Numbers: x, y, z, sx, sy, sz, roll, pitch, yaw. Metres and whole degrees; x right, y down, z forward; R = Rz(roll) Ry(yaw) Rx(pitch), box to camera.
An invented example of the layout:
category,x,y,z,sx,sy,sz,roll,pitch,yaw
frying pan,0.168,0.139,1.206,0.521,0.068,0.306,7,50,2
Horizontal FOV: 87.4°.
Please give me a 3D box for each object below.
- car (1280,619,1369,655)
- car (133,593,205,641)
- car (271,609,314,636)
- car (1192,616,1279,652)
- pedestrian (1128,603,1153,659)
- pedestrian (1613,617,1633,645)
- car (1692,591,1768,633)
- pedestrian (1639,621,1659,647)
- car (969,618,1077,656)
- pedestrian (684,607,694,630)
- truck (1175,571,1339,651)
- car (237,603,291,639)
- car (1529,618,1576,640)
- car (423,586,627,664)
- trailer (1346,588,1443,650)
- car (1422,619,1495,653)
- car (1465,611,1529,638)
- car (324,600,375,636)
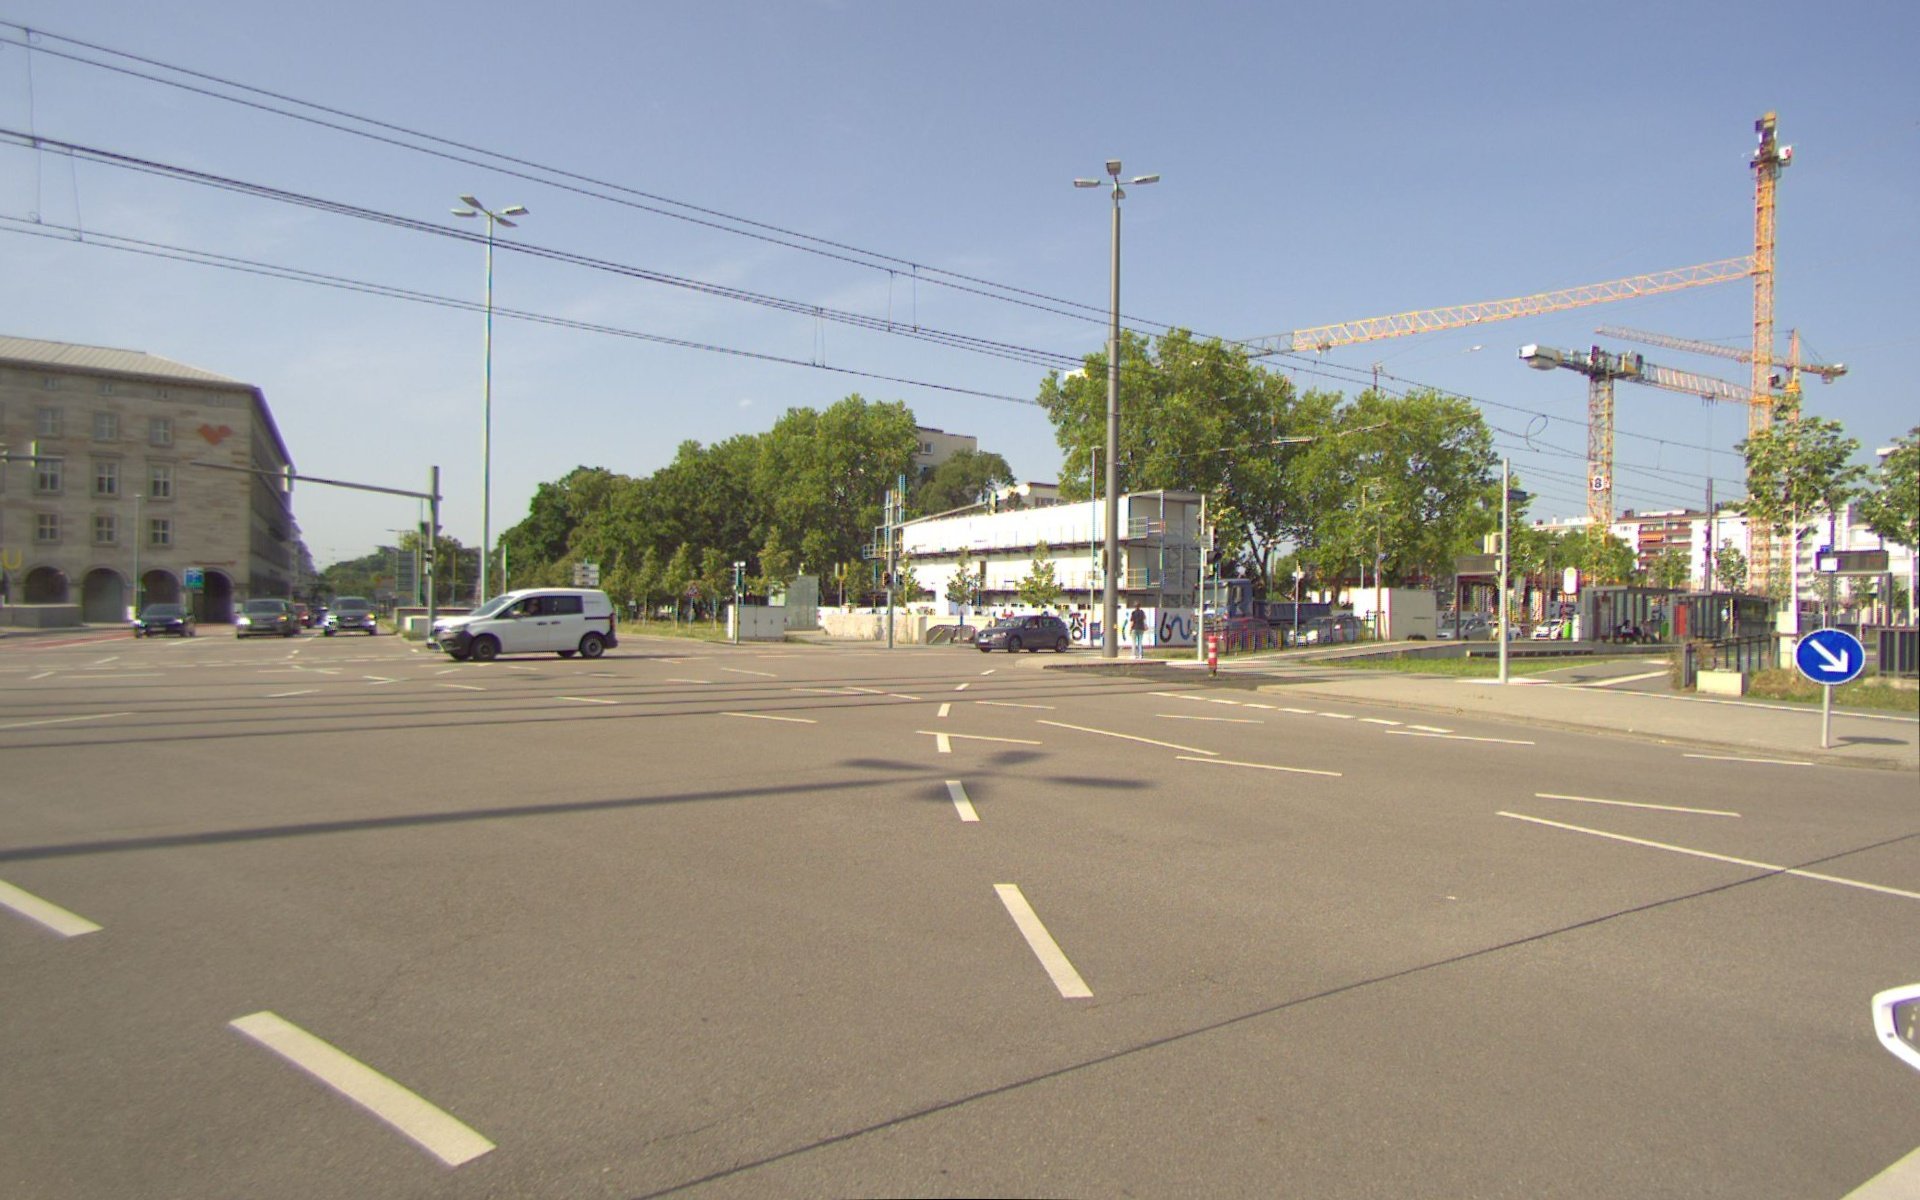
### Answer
category,x,y,z,sx,sy,sz,roll,pitch,yaw
car,16.396,1.638,45.106,4.363,1.489,1.631,1,0,-37
car,-34.936,0.731,44.451,1.977,2.040,3.966,1,0,-31
car,-40.277,1.337,60.655,1.811,1.526,3.988,1,0,-29
car,11.436,1.411,41.620,3.668,1.379,1.706,1,0,-40
pedestrian,5.492,0.935,30.595,0.630,1.698,0.370,1,0,-19
pedestrian,32.560,1.513,49.314,0.587,1.317,0.675,1,0,-39
car,69.960,1.103,91.210,9.147,3.560,3.032,2,0,-37
pedestrian,34.915,1.714,50.899,0.587,1.317,0.675,1,0,-39
car,2.488,1.403,38.710,4.392,1.365,1.581,1,0,-43
pedestrian,-20.828,1.421,77.149,0.535,1.731,0.587,1,0,-37
truck,14.753,0.560,49.477,8.804,3.634,3.000,1,0,-36
car,-28.490,0.841,41.085,1.694,1.399,3.616,1,0,-36
car,41.091,2.034,69.629,3.400,1.483,1.585,2,0,-36
car,-10.968,0.608,25.543,4.486,1.812,1.601,1,0,-43
trailer,21.227,0.948,49.020,4.975,2.818,2.030,2,1,-37
car,26.355,1.903,53.034,4.110,1.684,1.709,1,0,-36
car,34.048,1.556,63.657,4.571,1.603,1.780,2,0,-36
car,-26.000,0.746,42.751,1.555,1.439,3.308,1,0,-36
